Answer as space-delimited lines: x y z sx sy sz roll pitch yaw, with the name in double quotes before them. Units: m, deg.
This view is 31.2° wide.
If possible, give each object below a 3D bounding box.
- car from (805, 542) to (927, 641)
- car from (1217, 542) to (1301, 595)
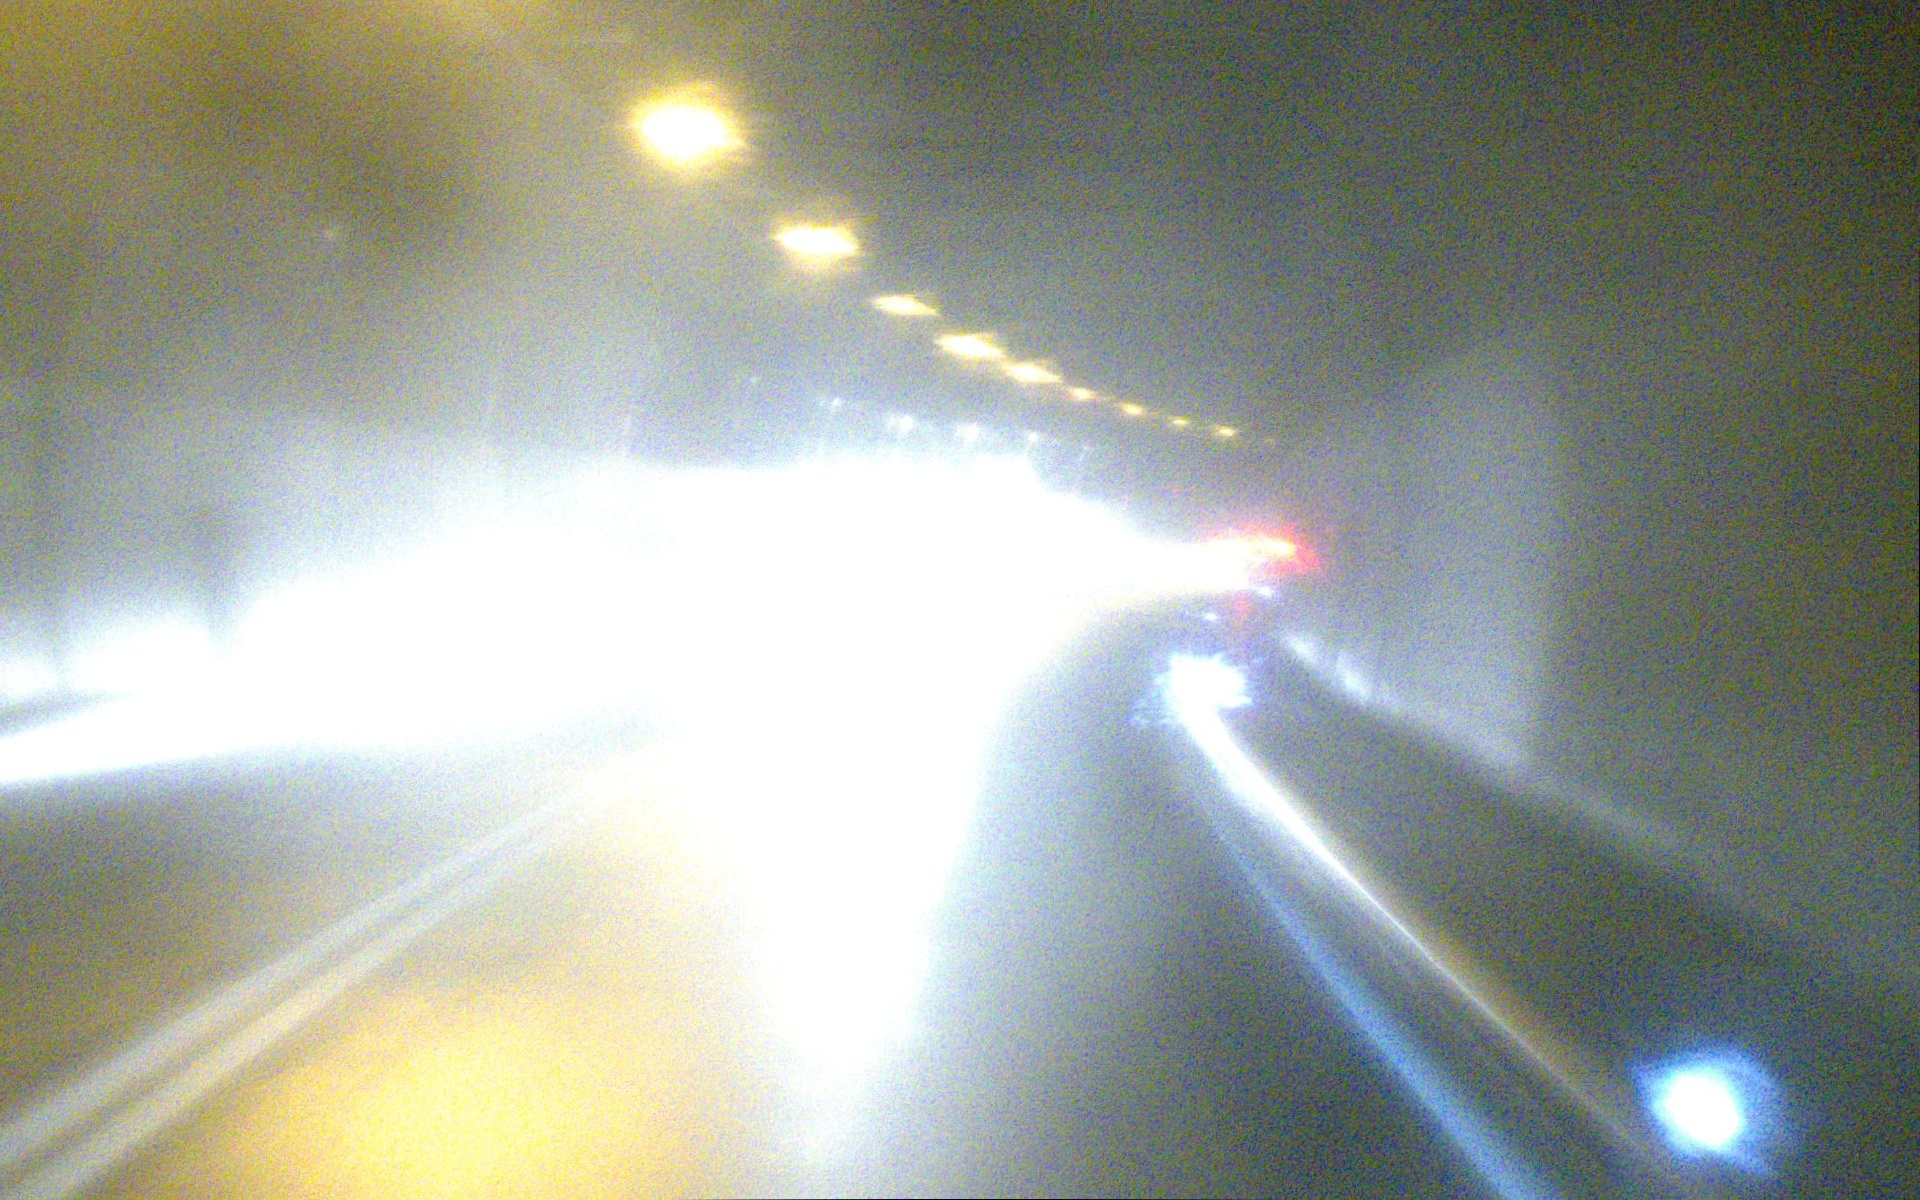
"car" -1.503 -0.169 56.181 1.709 1.505 4.079 1 1 2
"car" 9.612 -1.031 110.385 1.995 1.645 3.997 1 1 15
